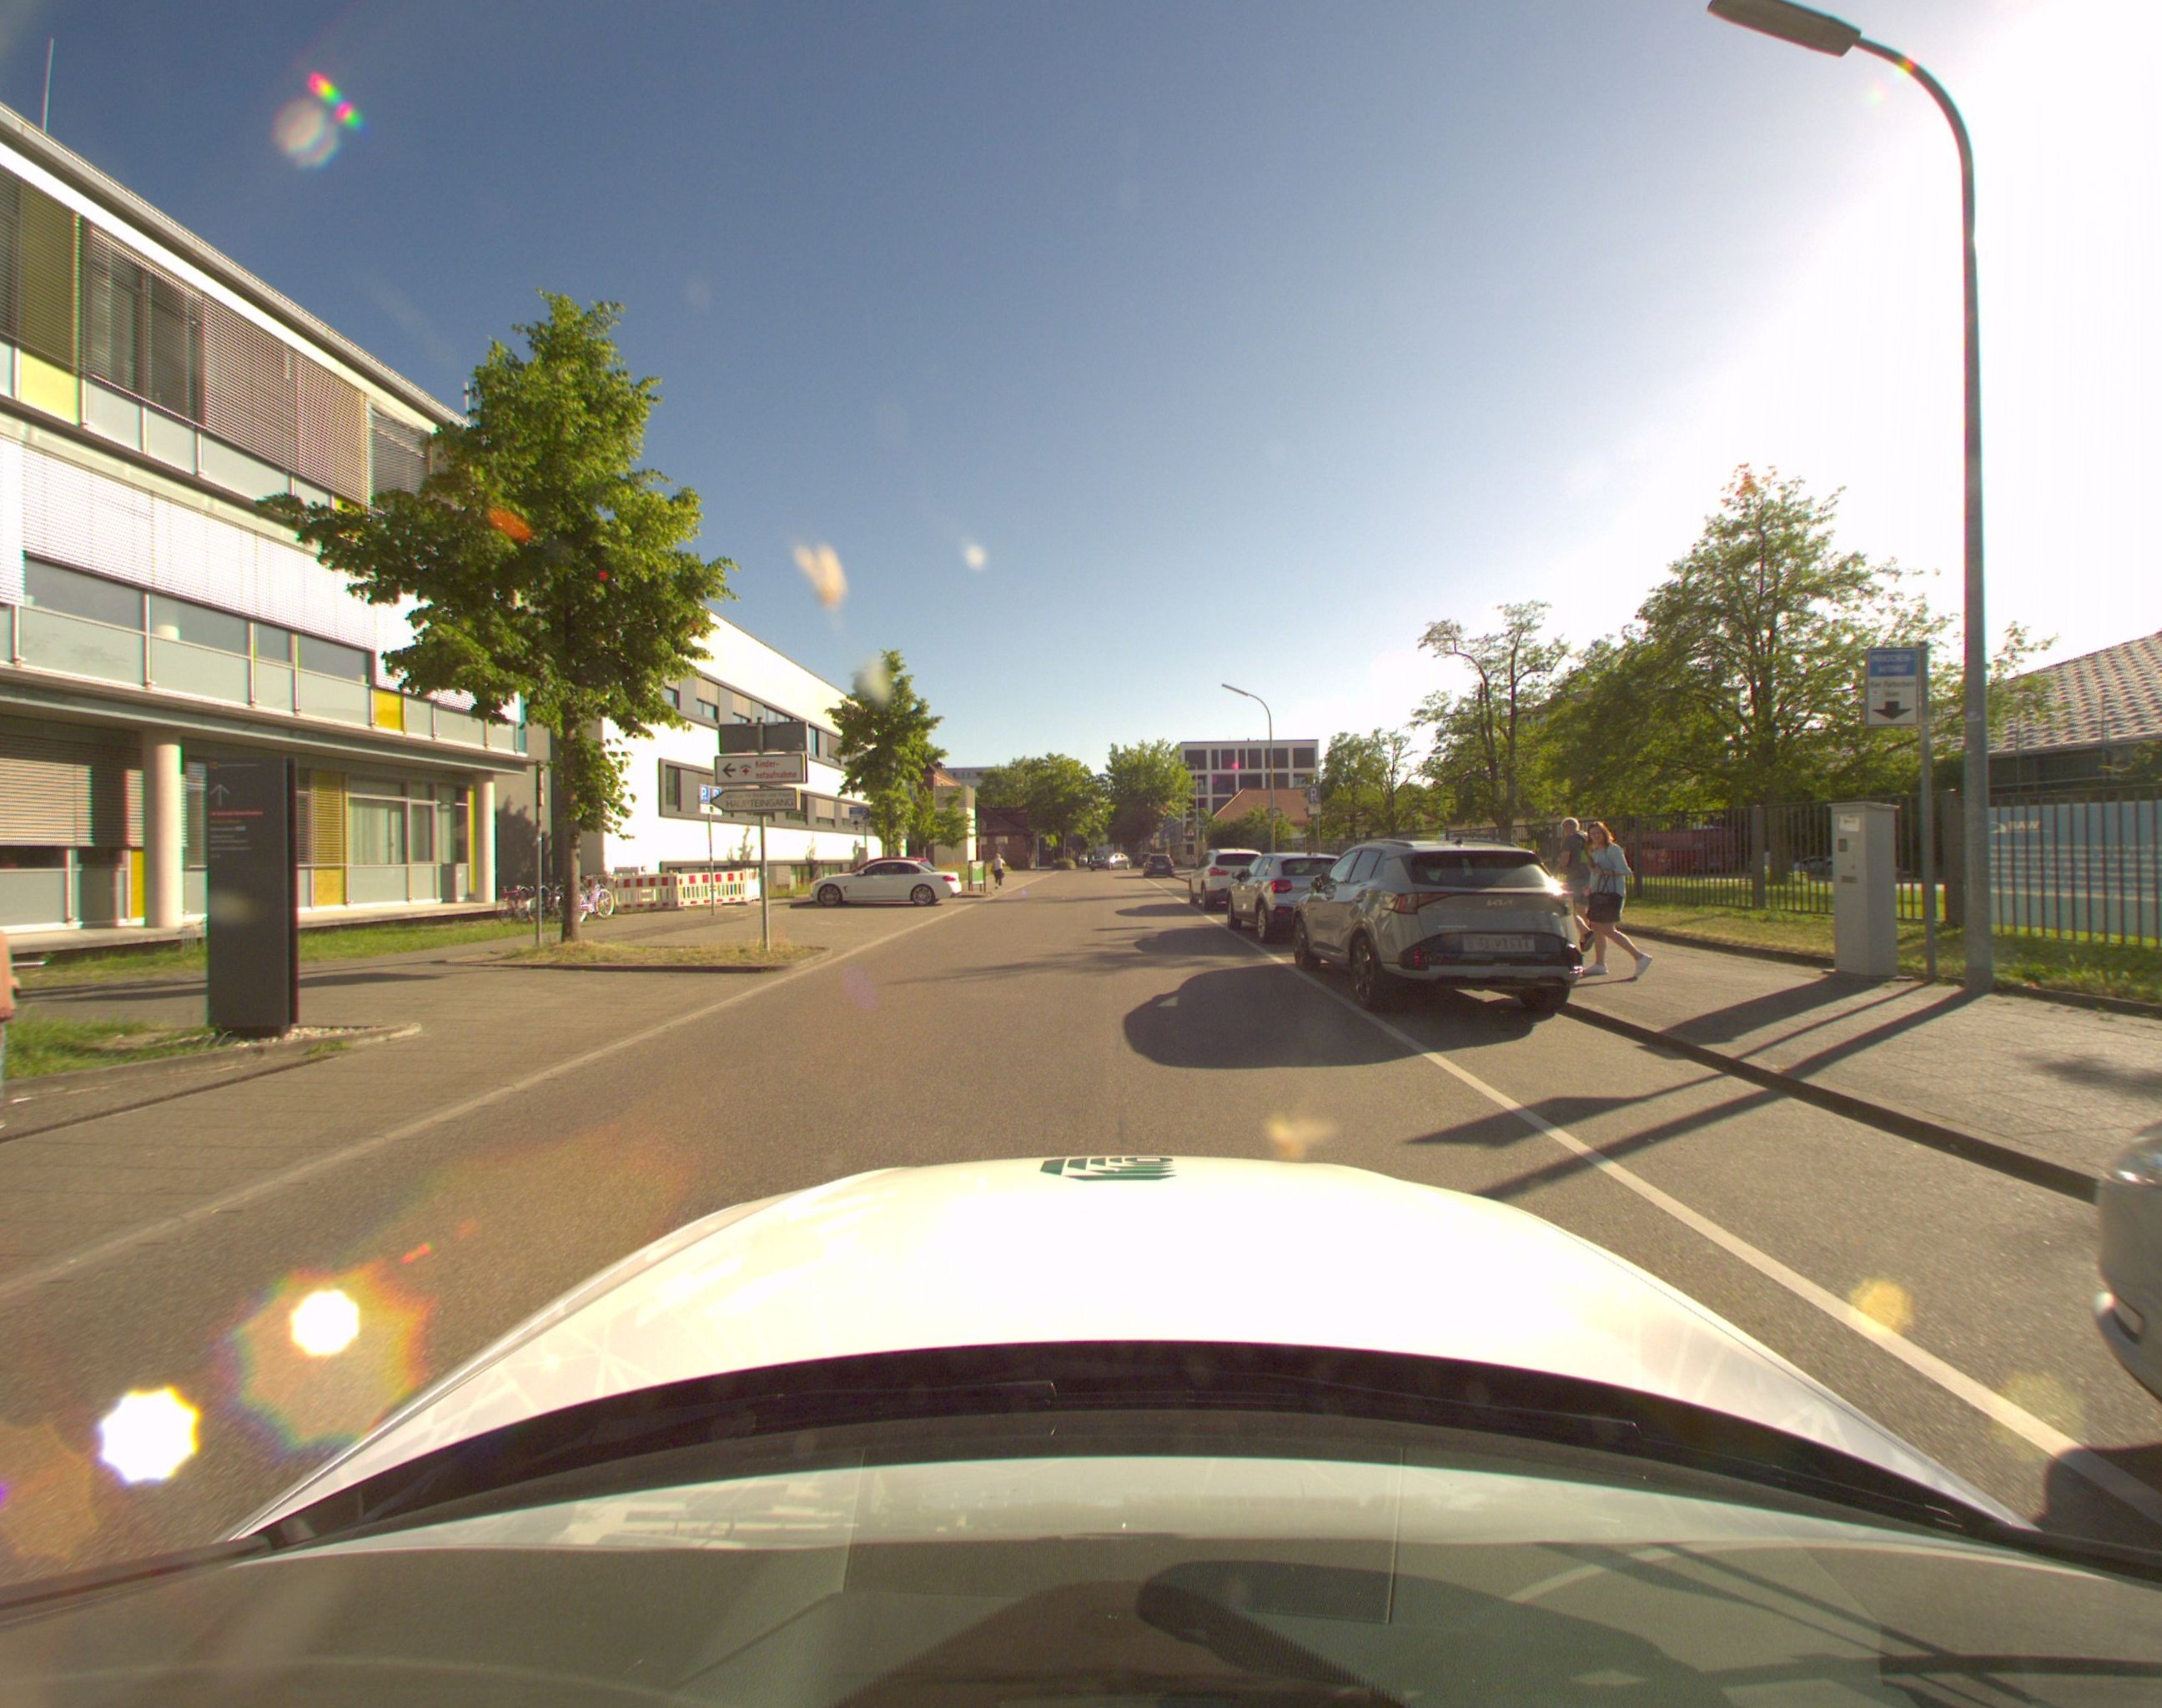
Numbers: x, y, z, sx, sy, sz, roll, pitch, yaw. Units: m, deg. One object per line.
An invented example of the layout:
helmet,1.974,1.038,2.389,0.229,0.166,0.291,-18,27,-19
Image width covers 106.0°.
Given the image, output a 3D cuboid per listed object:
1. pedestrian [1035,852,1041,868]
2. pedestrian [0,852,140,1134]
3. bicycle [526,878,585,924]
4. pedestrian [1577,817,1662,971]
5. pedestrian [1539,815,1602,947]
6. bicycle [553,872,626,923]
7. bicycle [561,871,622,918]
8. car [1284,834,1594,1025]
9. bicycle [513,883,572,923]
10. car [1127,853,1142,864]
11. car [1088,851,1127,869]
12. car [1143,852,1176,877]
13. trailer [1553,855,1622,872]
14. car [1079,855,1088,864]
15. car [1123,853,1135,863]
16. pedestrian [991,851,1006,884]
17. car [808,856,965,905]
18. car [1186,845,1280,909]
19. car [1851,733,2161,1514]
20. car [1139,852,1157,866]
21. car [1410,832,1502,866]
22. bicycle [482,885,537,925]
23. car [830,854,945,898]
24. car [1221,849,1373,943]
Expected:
pedestrian,-4.334,0.586,82.430,0.519,1.562,1.096,-1,0,1
pedestrian,-6.323,0.766,4.727,0.770,1.549,0.780,1,-1,2
bicycle,-12.475,1.091,19.365,0.393,0.988,1.452,-1,0,3
pedestrian,5.869,0.417,8.899,0.675,1.611,0.543,0,-1,21
pedestrian,6.524,0.353,10.868,0.519,1.708,0.522,1,-1,-1
bicycle,-11.927,1.032,19.822,0.532,1.111,1.862,-1,0,3
bicycle,-12.585,1.015,21.002,0.418,1.123,1.765,-1,0,3
car,3.584,0.631,9.109,1.694,1.606,4.355,0,0,2
bicycle,-12.948,1.153,19.628,0.367,0.863,1.452,-1,0,3
car,7.328,0.610,111.613,1.761,1.440,4.000,-1,0,0
car,2.275,0.475,69.169,1.746,1.442,4.563,-2,0,23
car,4.816,0.624,50.532,1.810,1.453,4.217,-1,0,3
trailer,31.590,0.567,50.991,1.886,0.919,5.123,-1,0,10
car,0.494,0.996,151.411,1.761,1.487,4.000,-1,0,0
car,8.269,0.651,140.642,1.942,1.578,3.839,-1,0,2
pedestrian,-3.791,0.617,37.398,0.536,1.524,0.608,-1,0,3
car,-5.966,0.802,25.422,4.502,1.367,1.698,1,0,-4
car,4.111,0.568,22.682,1.807,1.588,4.261,0,0,0
car,3.266,0.608,0.184,1.803,1.722,4.705,0,0,1
car,7.424,0.559,90.448,1.697,1.468,4.790,-1,0,1
car,25.091,-0.344,54.619,5.255,2.202,2.004,-1,1,7
bicycle,-13.973,1.242,19.947,0.254,0.873,1.452,-1,0,3
car,-6.673,0.743,28.353,3.626,1.469,1.612,0,0,-3
car,3.782,0.663,14.969,1.695,1.487,3.979,0,0,-1
